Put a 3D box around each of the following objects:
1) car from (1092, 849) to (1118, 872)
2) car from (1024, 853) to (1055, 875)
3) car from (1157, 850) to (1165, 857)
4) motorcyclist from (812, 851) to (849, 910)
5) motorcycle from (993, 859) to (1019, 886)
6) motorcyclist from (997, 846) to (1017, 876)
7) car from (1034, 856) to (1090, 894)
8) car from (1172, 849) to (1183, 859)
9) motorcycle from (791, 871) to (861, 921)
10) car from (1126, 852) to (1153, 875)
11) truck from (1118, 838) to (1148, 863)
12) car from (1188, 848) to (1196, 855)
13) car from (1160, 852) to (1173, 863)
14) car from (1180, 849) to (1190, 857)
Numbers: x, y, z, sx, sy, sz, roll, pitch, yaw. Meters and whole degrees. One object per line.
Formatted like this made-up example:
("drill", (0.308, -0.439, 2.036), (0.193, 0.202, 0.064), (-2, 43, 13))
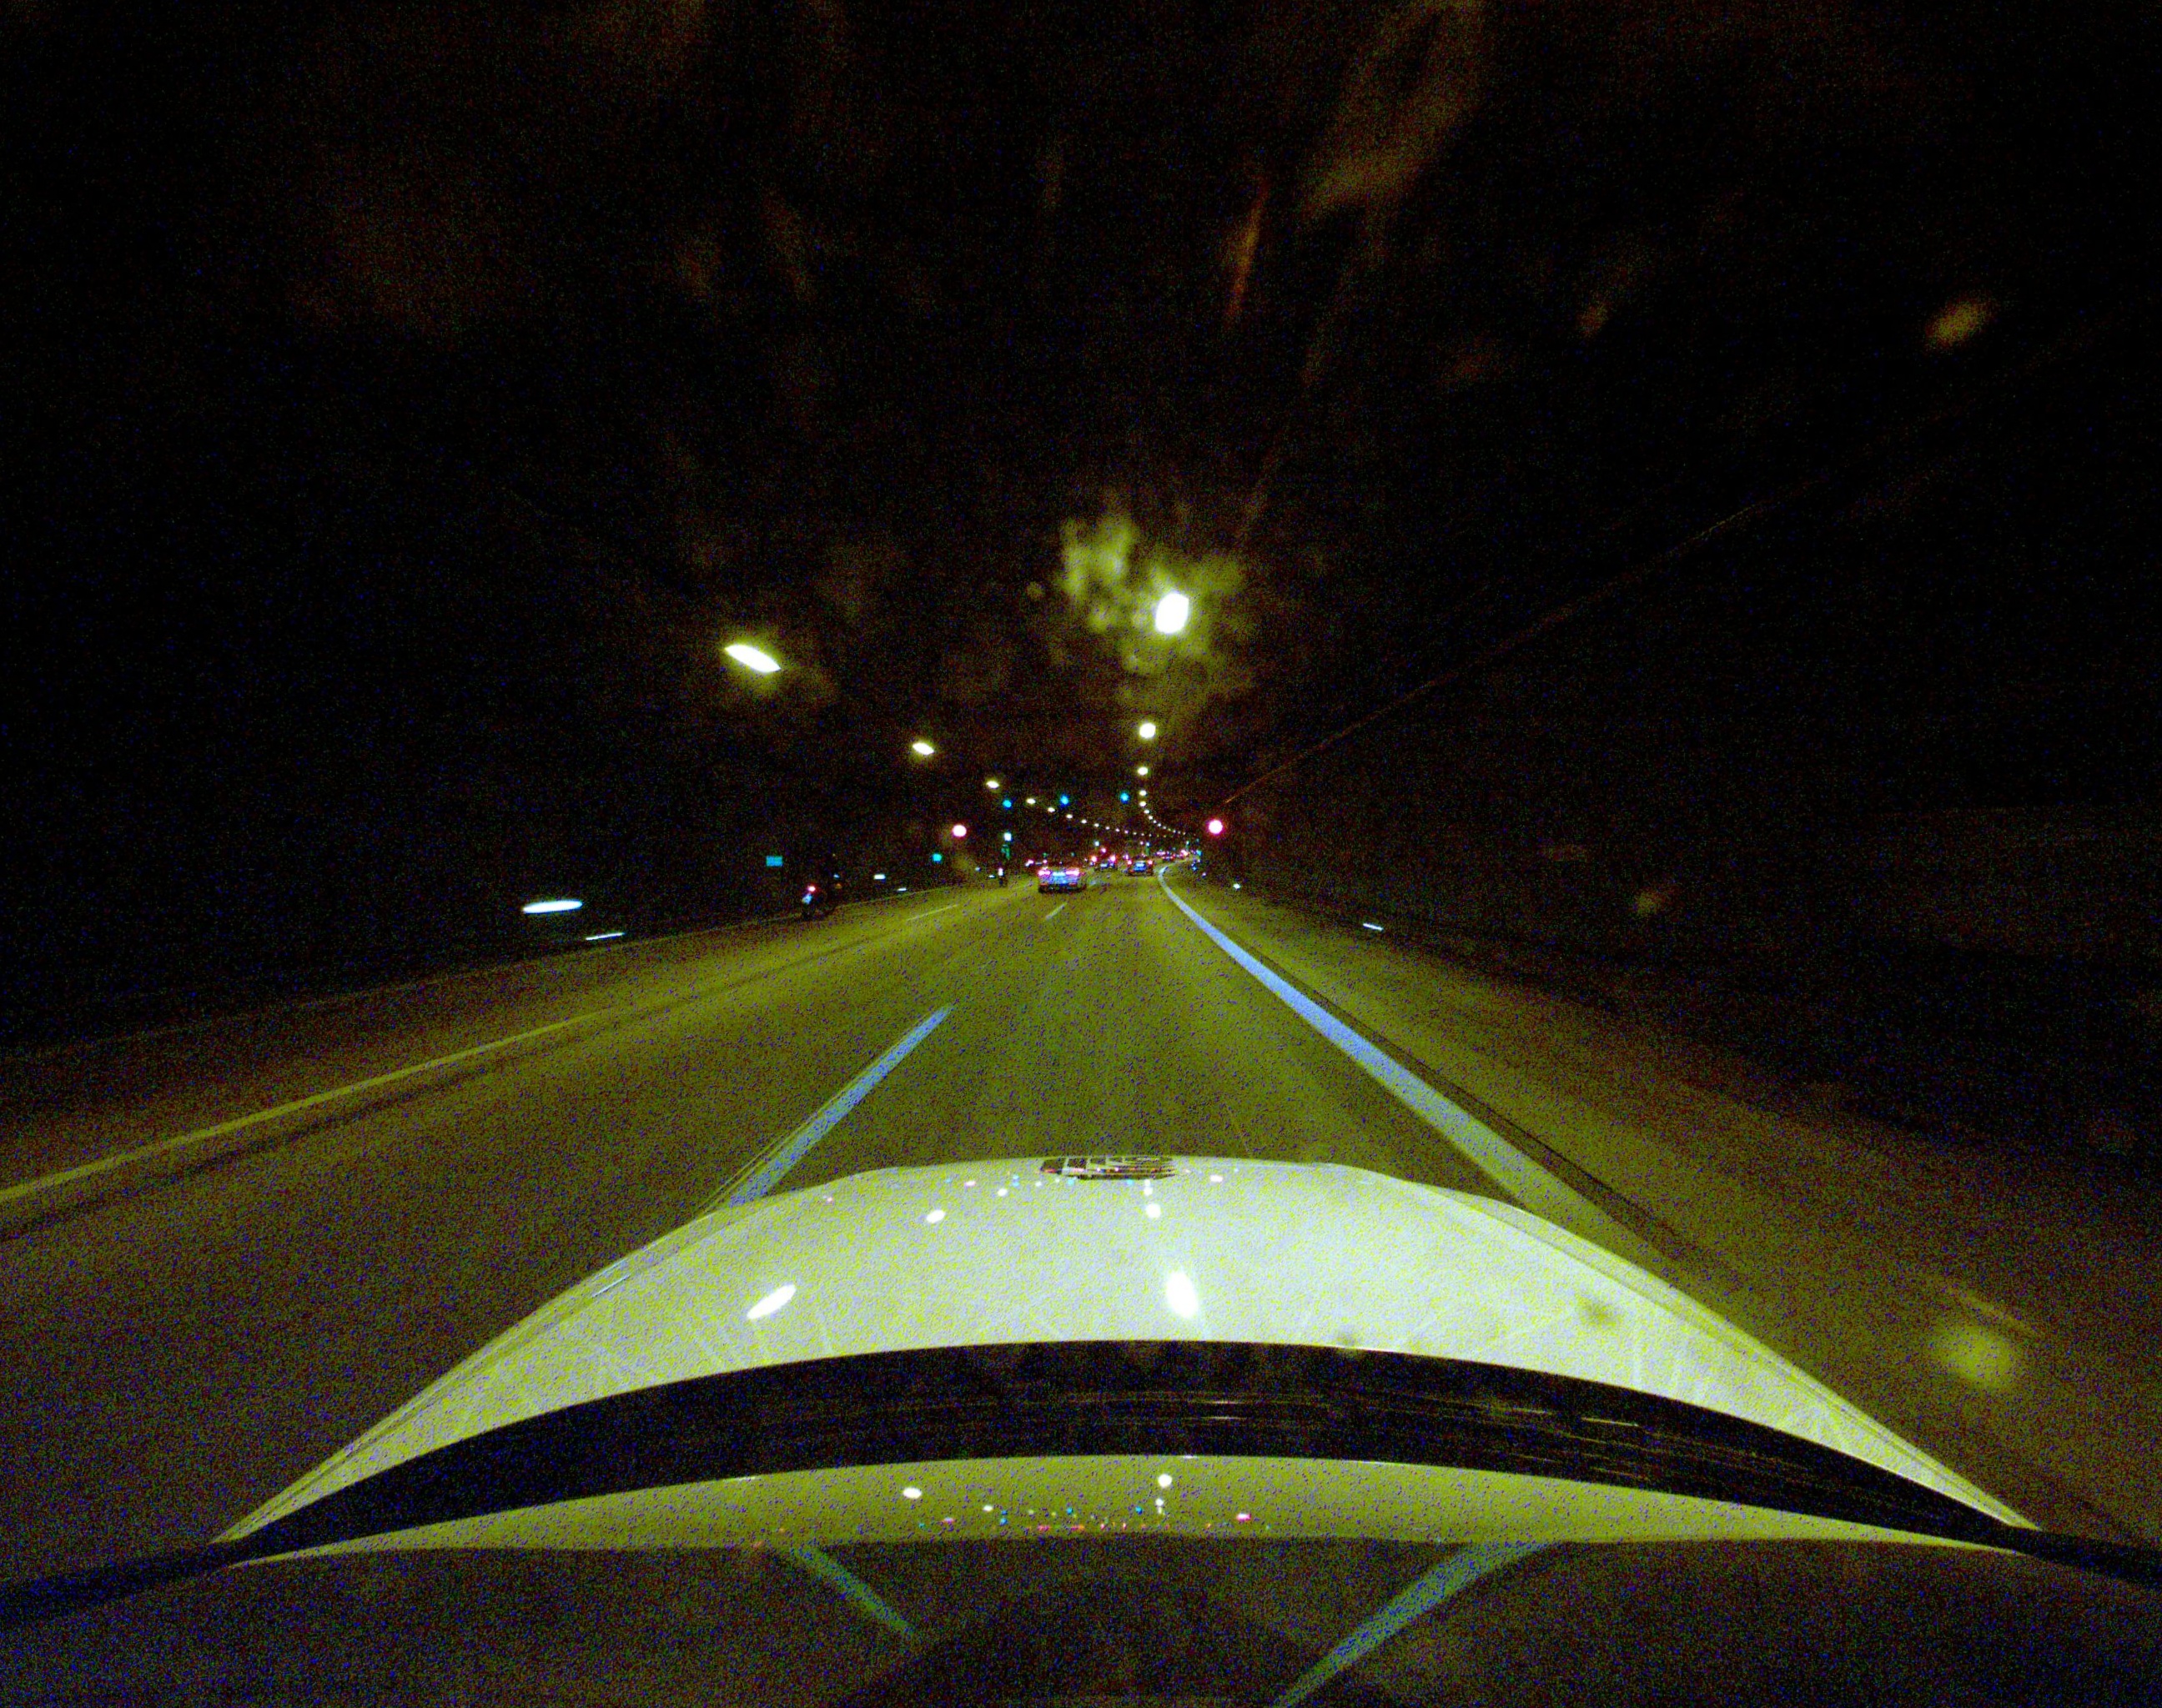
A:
("car", (2.154, 0.545, 72.670), (1.983, 1.972, 4.007), (-1, 0, 6))
("car", (-3.175, 0.740, 62.716), (1.776, 1.598, 3.807), (-1, 0, 6))
("car", (17.833, -0.134, 181.674), (1.822, 1.618, 4.005), (-3, 0, 4))
("motorcyclist", (-6.454, 0.672, 20.999), (0.624, 1.489, 0.891), (1, 0, 1))
("motorcycle", (-3.757, 0.922, 40.822), (0.842, 1.245, 2.607), (-3, 0, 3))
("motorcyclist", (-3.739, 0.361, 41.219), (0.835, 1.477, 0.822), (-1, 1, 3))
("car", (-0.721, 0.823, 34.364), (1.985, 1.483, 4.004), (-1, 0, 4))
("car", (17.833, -0.007, 149.945), (1.848, 1.666, 4.009), (-3, 0, 8))
("motorcycle", (-6.543, 1.054, 21.064), (1.050, 1.157, 2.427), (-1, 0, 0))
("car", (4.181, 0.658, 58.392), (1.832, 1.602, 4.003), (-1, 0, 2))
("truck", (7.476, -0.583, 115.014), (3.064, 3.112, 10.056), (-4, 1, 9))
("car", (28.677, -0.728, 209.944), (1.822, 1.691, 4.011), (-3, 0, 9))
("car", (12.832, 0.494, 121.771), (1.834, 1.568, 4.008), (-3, 0, 7))
("car", (23.334, -0.285, 182.366), (1.954, 1.750, 4.009), (-3, 0, 8))
